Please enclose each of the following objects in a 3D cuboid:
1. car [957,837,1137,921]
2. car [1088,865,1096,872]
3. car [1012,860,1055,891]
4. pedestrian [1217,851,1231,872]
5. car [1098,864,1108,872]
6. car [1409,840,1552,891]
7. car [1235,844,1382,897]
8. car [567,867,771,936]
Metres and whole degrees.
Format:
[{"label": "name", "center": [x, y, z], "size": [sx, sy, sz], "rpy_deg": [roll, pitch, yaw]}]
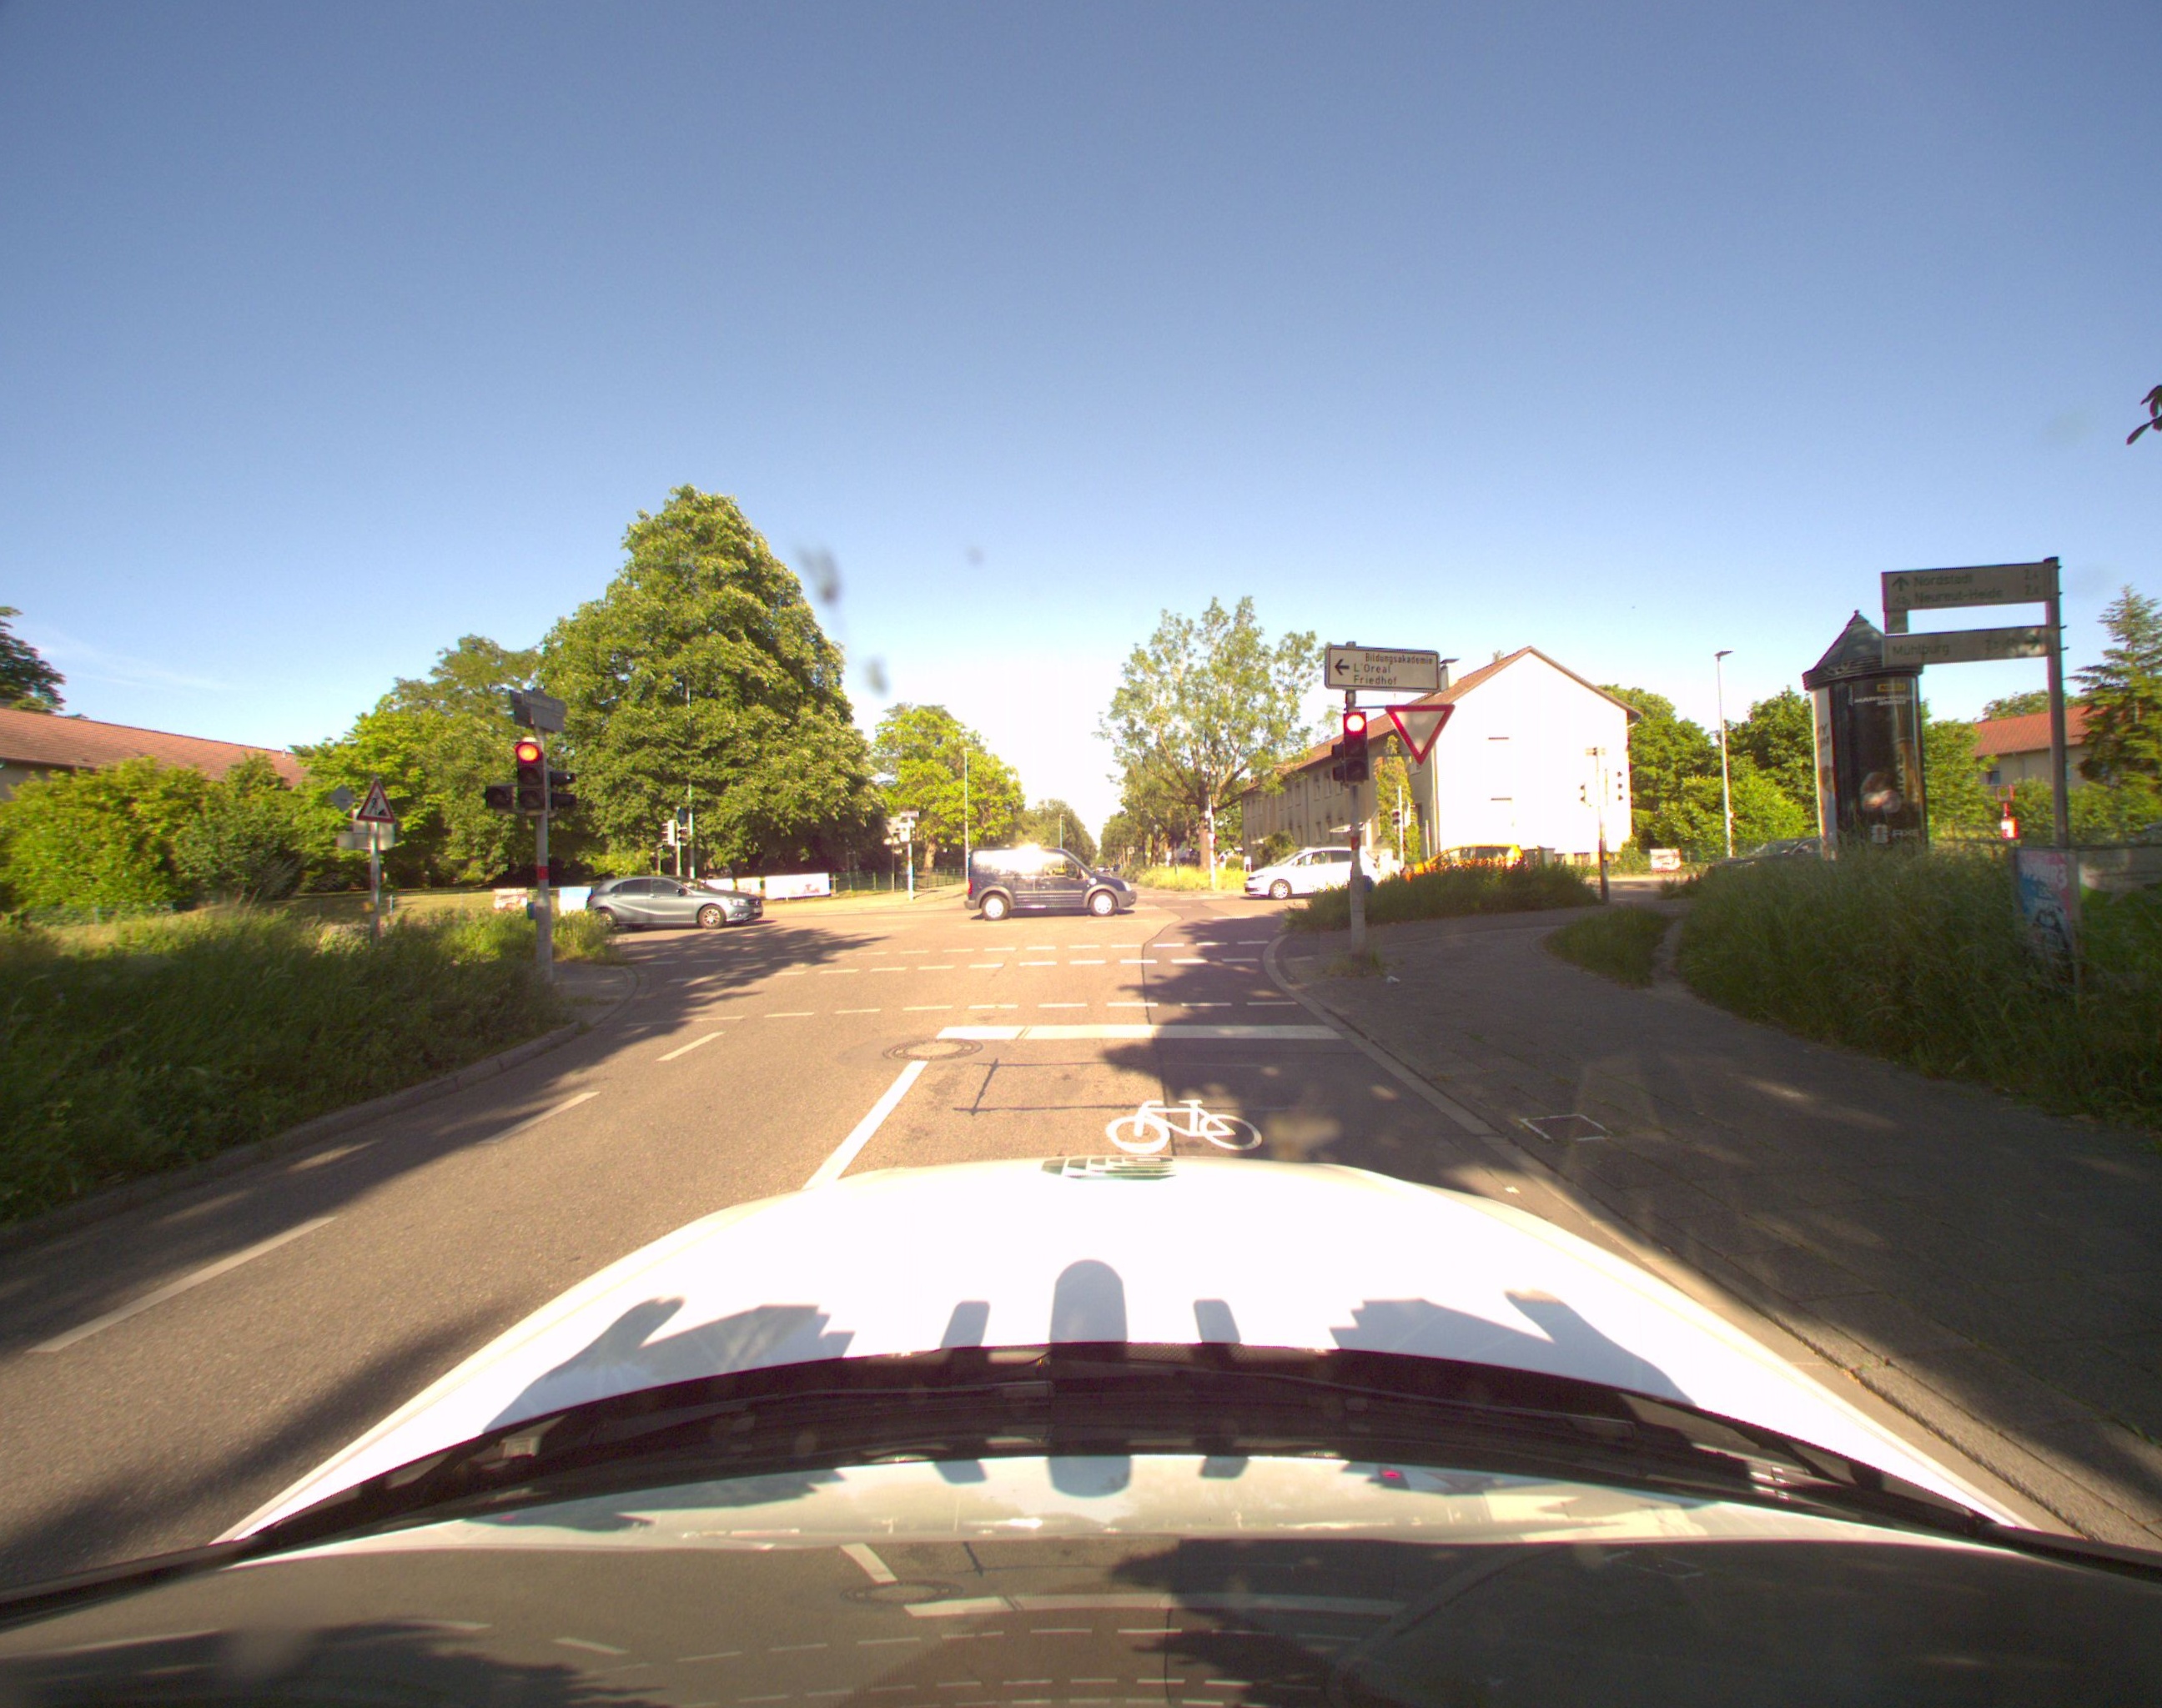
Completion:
[{"label": "car", "center": [-0.856, 0.601, 20.853], "size": [4.334, 1.887, 1.858], "rpy_deg": [-2, 0, -3]}, {"label": "car", "center": [2.817, 3.788, 208.109], "size": [1.751, 1.624, 3.271], "rpy_deg": [-2, 0, 3]}, {"label": "car", "center": [-2.319, 1.035, 40.193], "size": [1.704, 1.385, 3.473], "rpy_deg": [-2, 0, 3]}, {"label": "pedestrian", "center": [10.502, 0.565, 59.884], "size": [0.839, 1.493, 0.924], "rpy_deg": [1, 0, 1]}, {"label": "car", "center": [4.081, 2.680, 154.076], "size": [1.838, 1.461, 3.531], "rpy_deg": [-2, 0, 1]}, {"label": "car", "center": [12.861, 0.377, 26.489], "size": [3.955, 1.582, 1.765], "rpy_deg": [-1, -1, 17]}, {"label": "car", "center": [7.045, 0.511, 25.492], "size": [4.098, 1.563, 1.755], "rpy_deg": [0, -1, -4]}, {"label": "car", "center": [-10.612, 1.197, 21.227], "size": [4.270, 1.489, 1.913], "rpy_deg": [-2, 0, -1]}]
